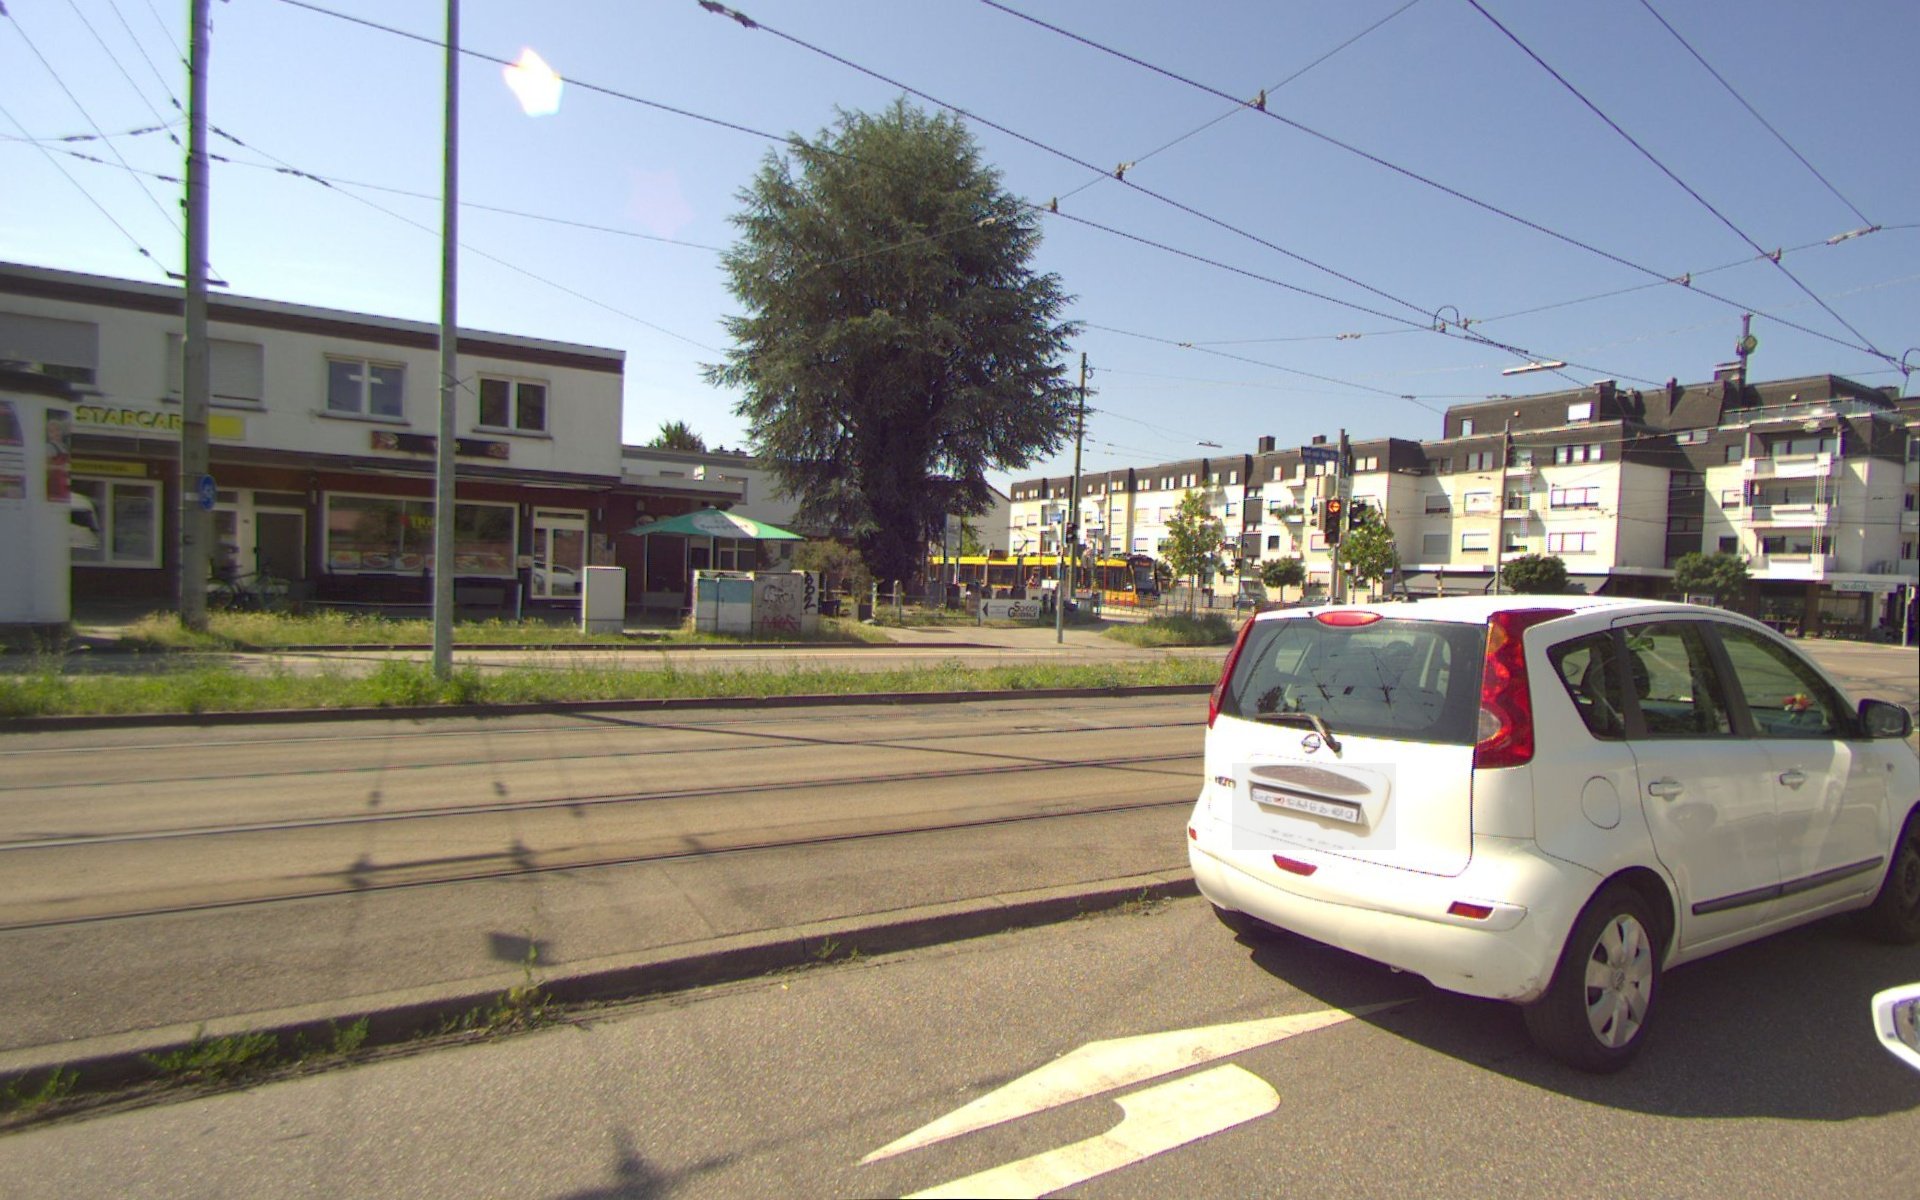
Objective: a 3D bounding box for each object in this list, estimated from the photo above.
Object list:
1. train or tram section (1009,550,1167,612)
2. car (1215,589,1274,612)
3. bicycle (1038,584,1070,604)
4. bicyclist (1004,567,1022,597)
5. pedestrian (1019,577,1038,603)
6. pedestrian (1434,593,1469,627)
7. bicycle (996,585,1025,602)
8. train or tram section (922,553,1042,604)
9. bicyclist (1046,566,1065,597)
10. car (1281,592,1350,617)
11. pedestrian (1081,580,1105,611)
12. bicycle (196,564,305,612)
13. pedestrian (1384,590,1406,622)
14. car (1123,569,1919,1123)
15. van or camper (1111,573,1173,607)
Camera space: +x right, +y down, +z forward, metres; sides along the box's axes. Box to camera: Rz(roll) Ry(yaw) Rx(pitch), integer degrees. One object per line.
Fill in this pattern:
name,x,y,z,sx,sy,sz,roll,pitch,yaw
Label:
train or tram section,8.253,-1.382,67.876,2.736,3.707,13.795,1,1,-30
car,20.622,0.032,72.945,1.807,1.520,3.967,1,1,-30
bicycle,4.897,-0.315,52.606,0.529,0.959,2.119,1,1,-30
bicyclist,2.938,-1.002,55.544,0.624,1.596,0.760,1,1,-28
pedestrian,4.709,-0.680,68.946,0.804,1.703,1.085,1,1,-30
pedestrian,28.254,0.568,57.787,1.410,1.861,1.123,2,1,3
bicycle,2.795,-0.370,55.800,0.569,0.902,2.119,1,1,-30
train or tram section,1.441,-1.805,79.894,2.736,3.707,13.795,1,1,-30
bicyclist,5.022,-0.971,52.600,0.625,1.579,0.759,2,0,-33
car,23.894,0.300,67.623,1.807,1.520,4.151,1,1,-30
pedestrian,8.216,-0.284,62.255,0.886,1.862,1.192,1,1,-30
bicycle,-15.685,-0.271,22.268,1.889,0.996,0.754,1,1,-30
pedestrian,24.880,0.322,57.510,0.801,1.783,0.759,1,1,-25
car,2.895,0.739,4.654,4.019,1.582,1.757,1,0,-30
van or camper,14.948,-0.860,82.853,2.349,2.660,4.850,1,1,-31
